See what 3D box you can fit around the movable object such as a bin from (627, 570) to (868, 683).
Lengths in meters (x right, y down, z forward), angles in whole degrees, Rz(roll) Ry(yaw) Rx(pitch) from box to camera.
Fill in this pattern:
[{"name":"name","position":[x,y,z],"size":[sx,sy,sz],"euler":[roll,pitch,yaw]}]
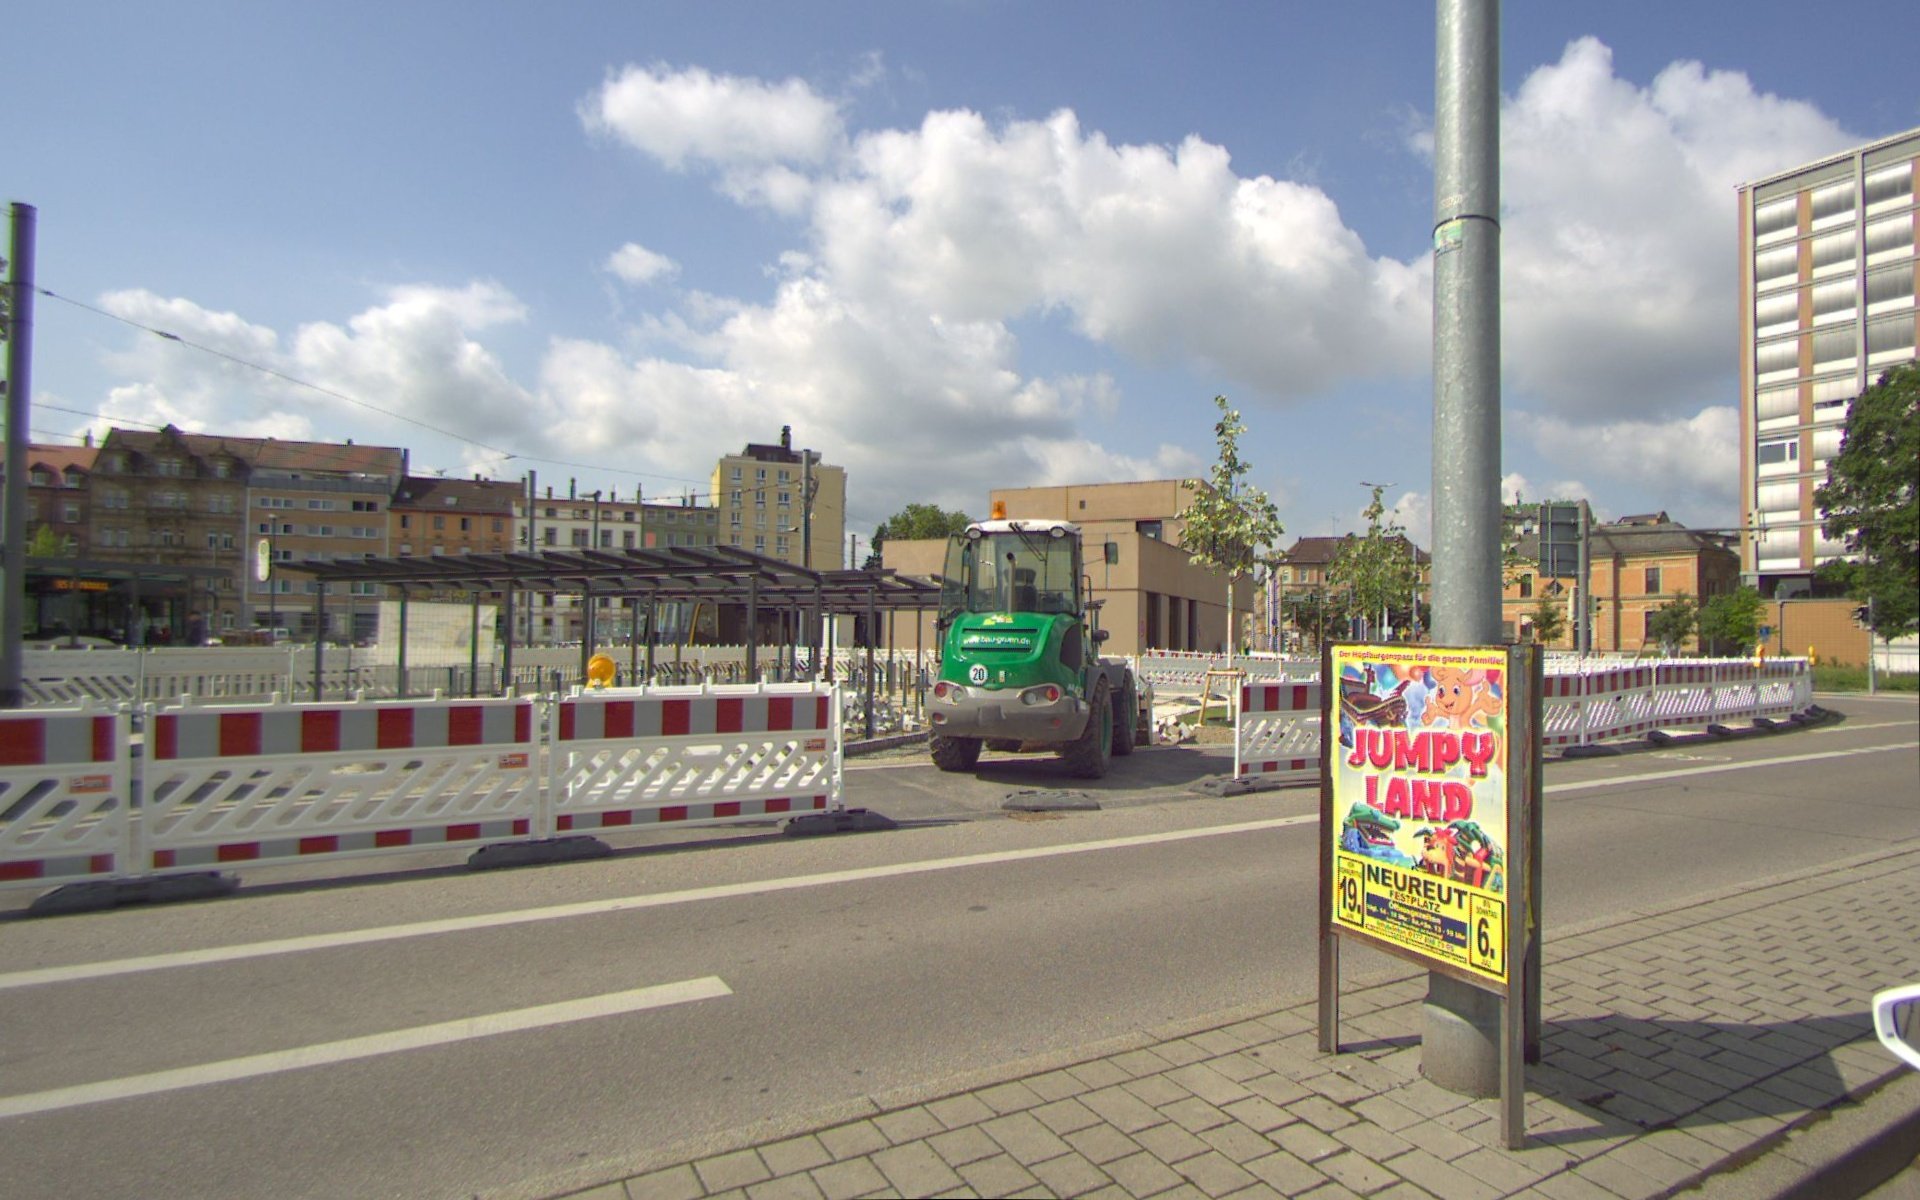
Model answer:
[{"name":"movable object such as a bin","position":[-7.150,1.007,35.887],"size":[2.966,3.468,9.677],"euler":[0,-2,27]}]

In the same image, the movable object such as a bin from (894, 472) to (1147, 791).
[{"name":"movable object such as a bin","position":[0.944,0.384,11.819],"size":[1.960,2.988,4.453],"euler":[0,-2,17]}]

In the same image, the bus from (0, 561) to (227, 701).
[{"name":"bus","position":[-22.024,0.732,23.425],"size":[2.329,3.098,7.758],"euler":[-1,-2,25]}]

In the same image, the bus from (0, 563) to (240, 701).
[{"name":"bus","position":[-24.617,0.758,24.030],"size":[2.937,3.305,12.067],"euler":[-1,-2,25]}]
